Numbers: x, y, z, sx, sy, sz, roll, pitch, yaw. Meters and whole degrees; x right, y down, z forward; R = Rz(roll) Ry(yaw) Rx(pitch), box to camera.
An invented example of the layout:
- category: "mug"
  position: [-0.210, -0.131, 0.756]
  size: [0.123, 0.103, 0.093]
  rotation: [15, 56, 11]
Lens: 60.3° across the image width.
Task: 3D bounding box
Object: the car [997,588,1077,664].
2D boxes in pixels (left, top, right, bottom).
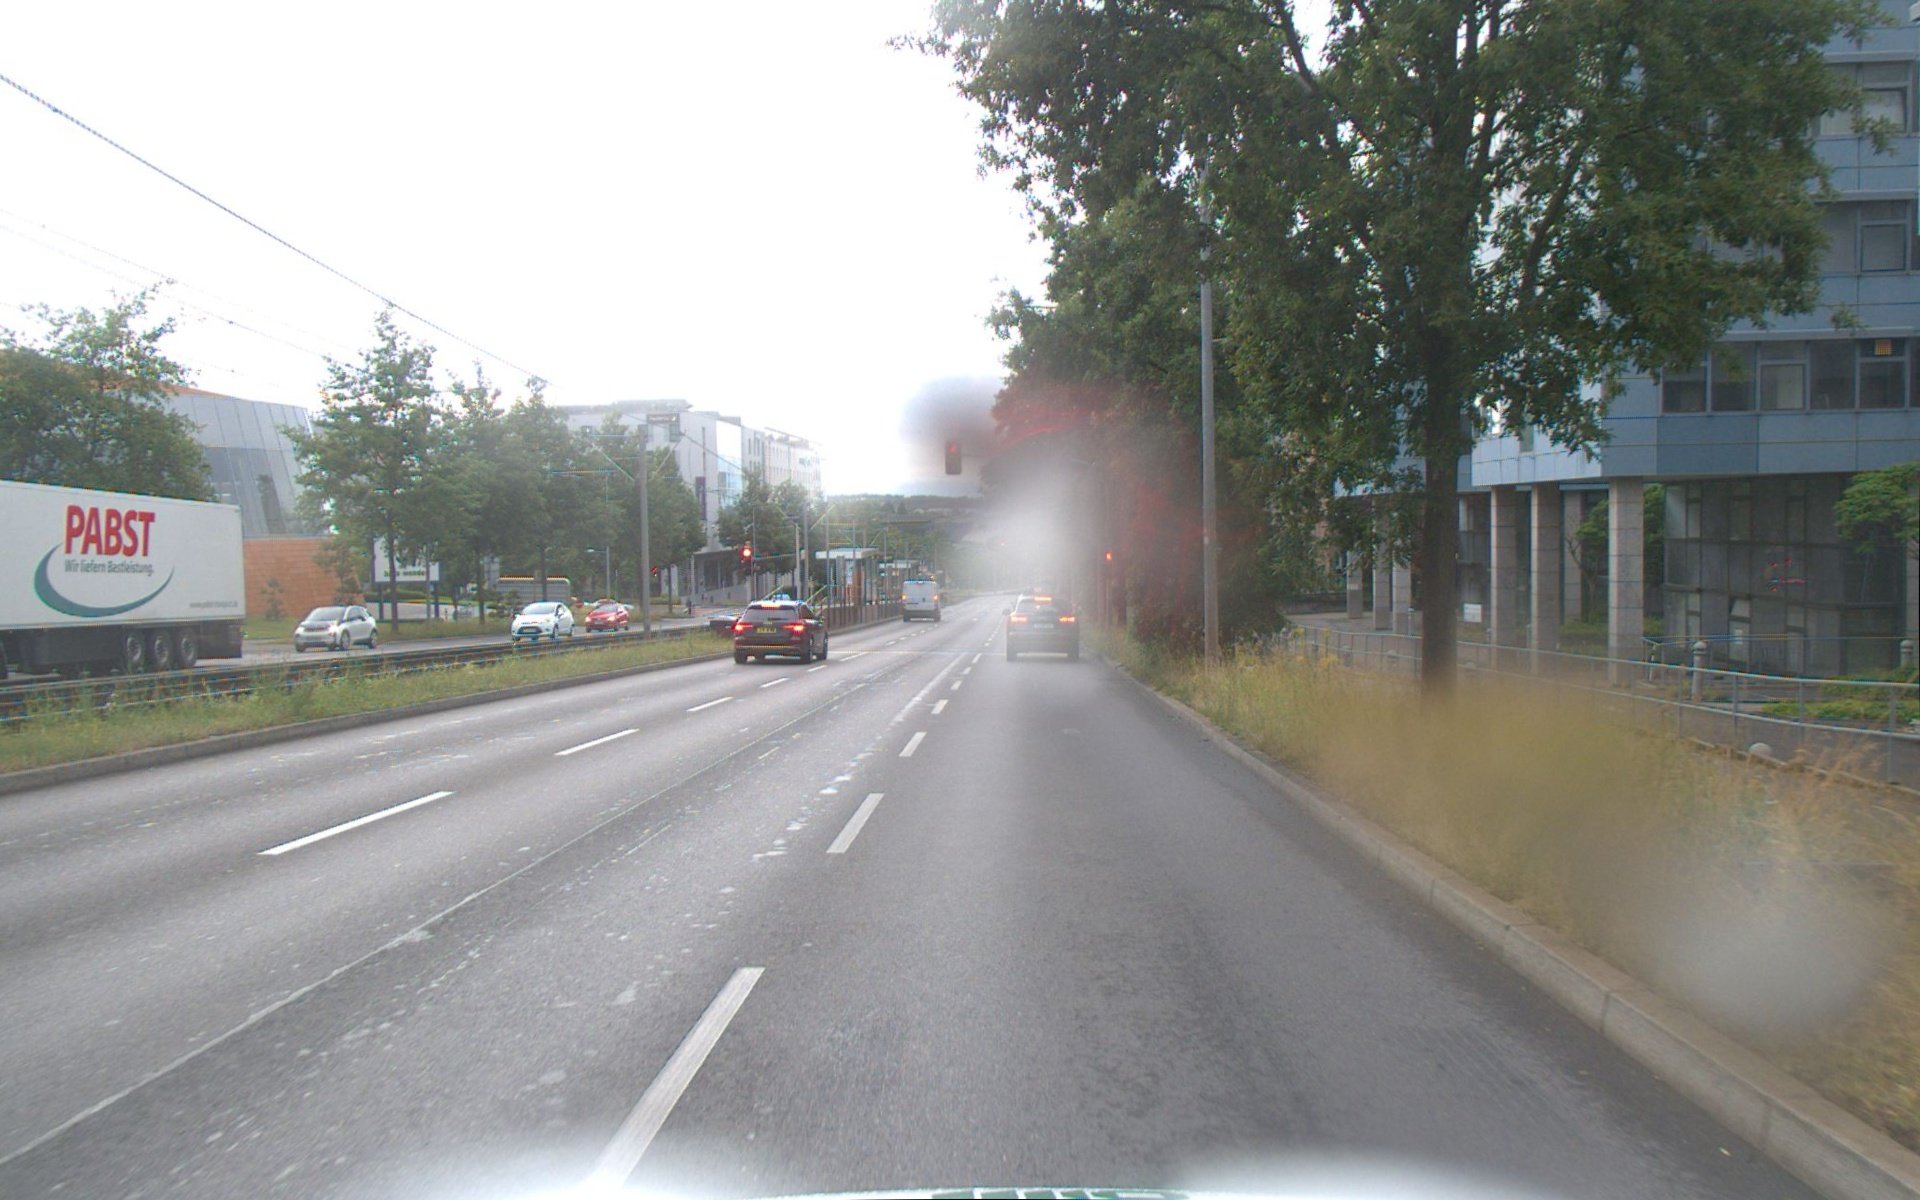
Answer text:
- category: "car"
  position: [1.915, 0.615, 42.200]
  size: [1.883, 1.740, 4.099]
  rotation: [0, 2, 1]

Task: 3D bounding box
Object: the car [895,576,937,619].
- category: "car"
  position: [-2.553, -0.166, 95.145]
  size: [2.223, 2.324, 4.757]
  rotation: [0, 1, -3]

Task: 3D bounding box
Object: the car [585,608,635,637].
- category: "car"
  position: [-18.307, 1.167, 86.568]
  size: [1.628, 1.467, 3.898]
  rotation: [0, 0, 3]

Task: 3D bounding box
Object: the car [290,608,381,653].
- category: "car"
  position: [-22.430, 1.063, 59.522]
  size: [1.628, 1.571, 3.898]
  rotation: [0, 0, 3]

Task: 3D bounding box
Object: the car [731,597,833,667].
- category: "car"
  position: [-4.142, 0.700, 39.194]
  size: [1.749, 1.438, 4.807]
  rotation: [0, 1, 2]

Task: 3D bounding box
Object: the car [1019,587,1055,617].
- category: "car"
  position: [4.820, 0.115, 103.551]
  size: [2.005, 1.772, 4.578]
  rotation: [0, 1, 6]

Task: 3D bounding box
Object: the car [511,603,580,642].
- category: "car"
  position: [-16.099, 0.856, 64.383]
  size: [1.628, 1.467, 3.897]
  rotation: [0, 0, 1]

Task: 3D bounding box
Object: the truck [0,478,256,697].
- category: "truck"
  position: [-20.085, -0.298, 34.917]
  size: [2.979, 4.253, 17.204]
  rotation: [0, 1, 0]

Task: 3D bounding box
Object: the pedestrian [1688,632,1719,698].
- category: "pedestrian"
  position: [16.493, 1.435, 36.696]
  size: [0.492, 1.433, 0.457]
  rotation: [0, 0, 2]

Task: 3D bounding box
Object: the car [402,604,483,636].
- category: "car"
  position: [-31.021, 1.182, 99.262]
  size: [4.235, 1.841, 2.098]
  rotation: [0, 1, -2]
